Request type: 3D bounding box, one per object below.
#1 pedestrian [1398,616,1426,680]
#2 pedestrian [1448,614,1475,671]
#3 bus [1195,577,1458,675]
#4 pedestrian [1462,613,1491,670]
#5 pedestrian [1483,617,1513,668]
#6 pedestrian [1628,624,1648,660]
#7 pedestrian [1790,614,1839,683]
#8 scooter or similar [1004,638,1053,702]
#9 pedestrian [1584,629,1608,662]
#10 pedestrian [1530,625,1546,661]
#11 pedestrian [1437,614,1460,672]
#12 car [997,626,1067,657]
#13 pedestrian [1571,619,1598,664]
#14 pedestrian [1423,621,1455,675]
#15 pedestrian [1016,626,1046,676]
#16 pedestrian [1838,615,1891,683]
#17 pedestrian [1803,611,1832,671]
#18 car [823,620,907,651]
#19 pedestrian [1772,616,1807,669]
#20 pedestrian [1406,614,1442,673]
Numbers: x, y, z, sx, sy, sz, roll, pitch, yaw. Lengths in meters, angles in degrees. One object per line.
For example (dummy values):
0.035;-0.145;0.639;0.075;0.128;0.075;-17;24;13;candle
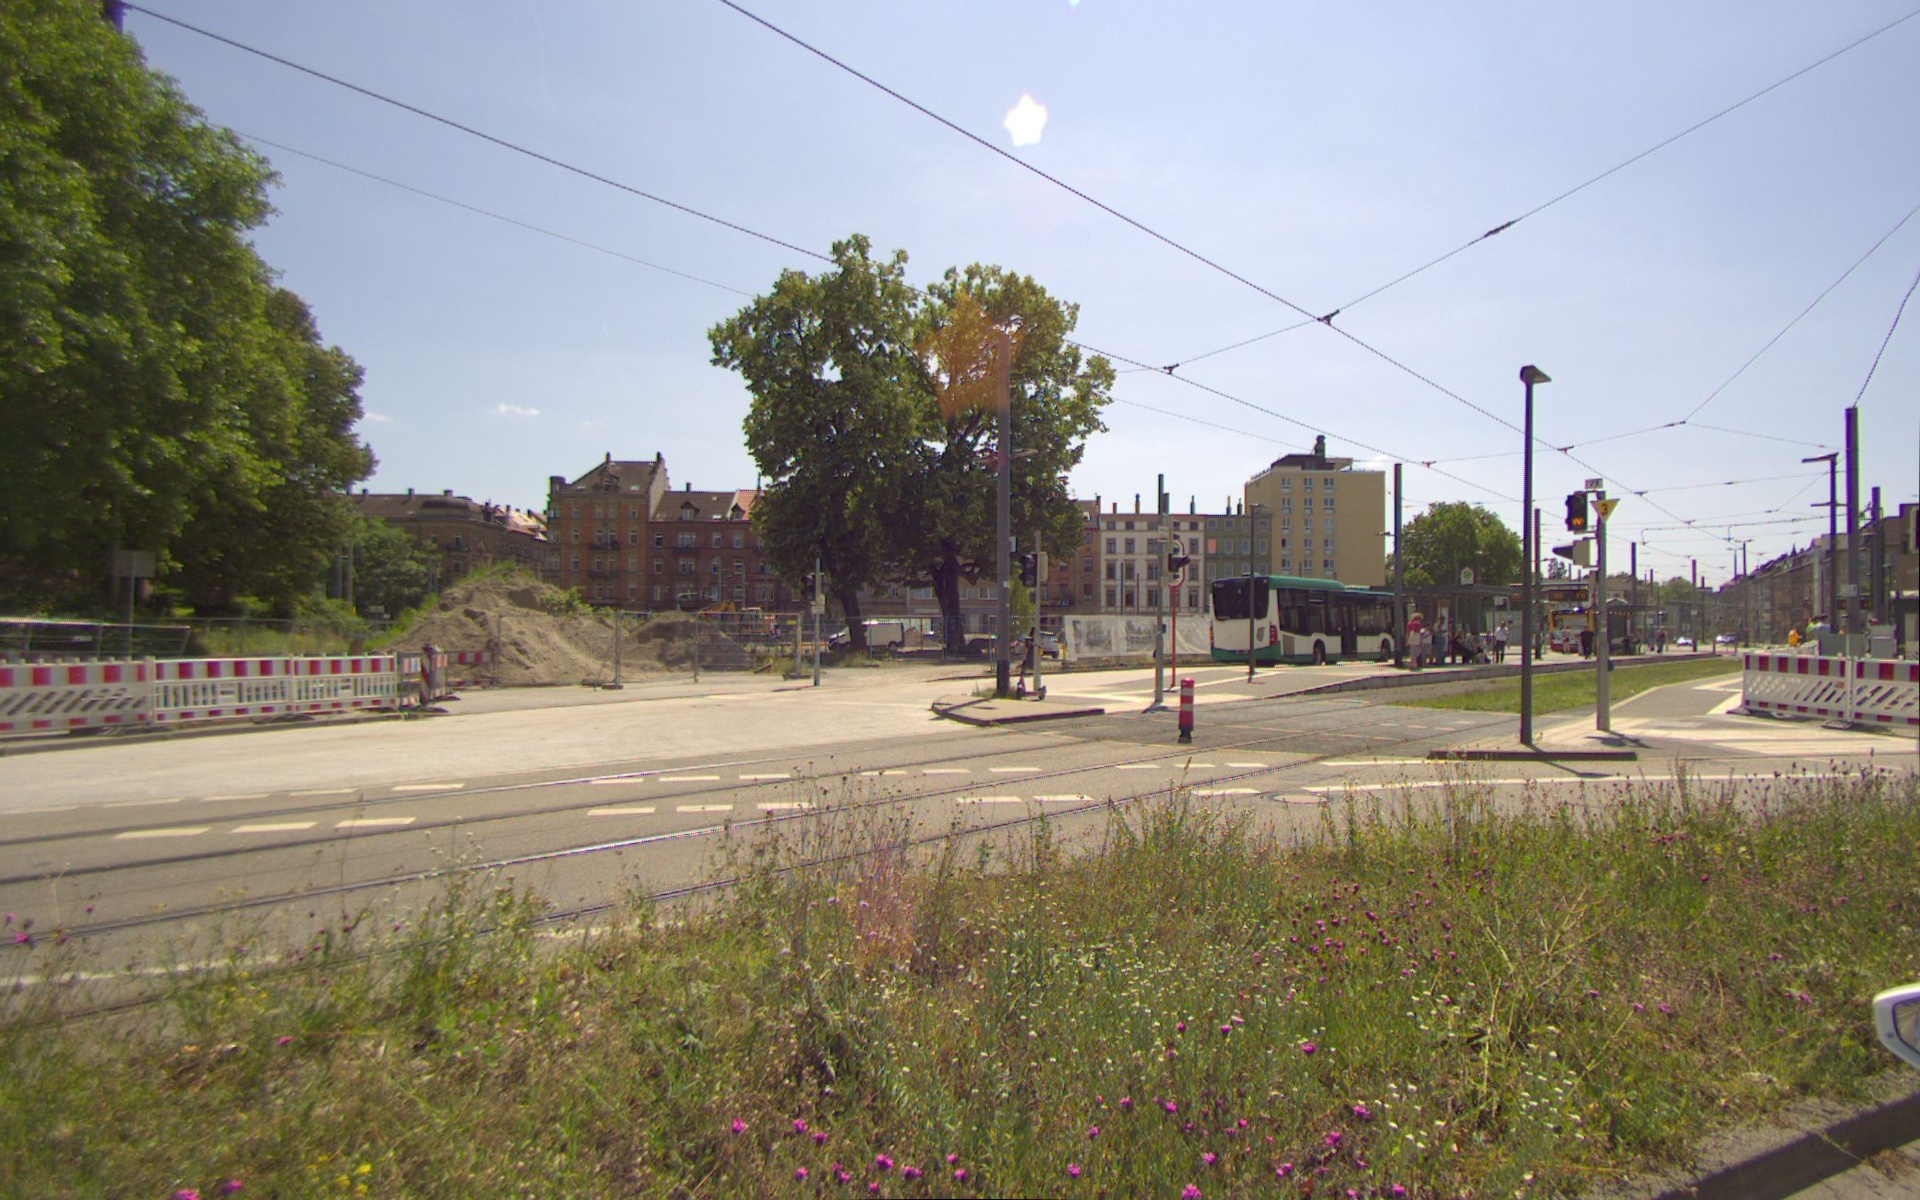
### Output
13.779;1.462;30.612;0.664;1.934;0.638;-1;-2;35;pedestrian
18.787;1.596;37.652;0.812;2.124;0.640;-1;-2;33;pedestrian
15.310;1.092;40.166;2.980;3.199;17.388;-2;-2;44;bus
19.670;1.587;38.238;0.887;2.124;0.829;-1;-2;33;pedestrian
22.709;1.800;42.397;0.825;2.124;0.891;1;-2;-41;pedestrian
40.452;2.515;59.946;0.820;2.124;0.897;-1;-2;44;pedestrian
23.924;1.358;28.126;0.752;1.888;0.731;1;-2;4;pedestrian
1.365;1.376;19.959;0.315;1.222;1.243;-1;-2;39;scooter or similar
35.980;2.584;56.839;0.955;1.859;0.777;-1;-2;20;pedestrian
34.691;2.552;60.330;0.693;2.139;0.657;-1;-2;20;pedestrian
18.030;1.570;37.080;0.689;2.124;0.643;-1;-2;33;pedestrian
4.028;2.289;56.569;1.832;1.671;4.158;1;-2;-33;car
29.932;1.969;48.149;0.825;2.124;0.891;1;-2;-41;pedestrian
17.081;1.708;35.820;0.899;1.876;0.656;-1;-2;35;pedestrian
2.355;1.693;33.424;0.818;1.623;0.602;1;-2;-36;pedestrian
25.371;1.365;28.181;0.963;1.856;0.632;-1;-2;30;pedestrian
28.638;1.376;33.542;0.710;1.948;1.069;0;-2;39;pedestrian
-6.129;2.278;64.850;4.971;1.909;2.105;1;-2;-26;car
27.320;1.390;33.089;0.715;1.729;0.743;0;-2;25;pedestrian
16.080;1.506;34.804;0.929;2.016;1.025;-1;-2;35;pedestrian
